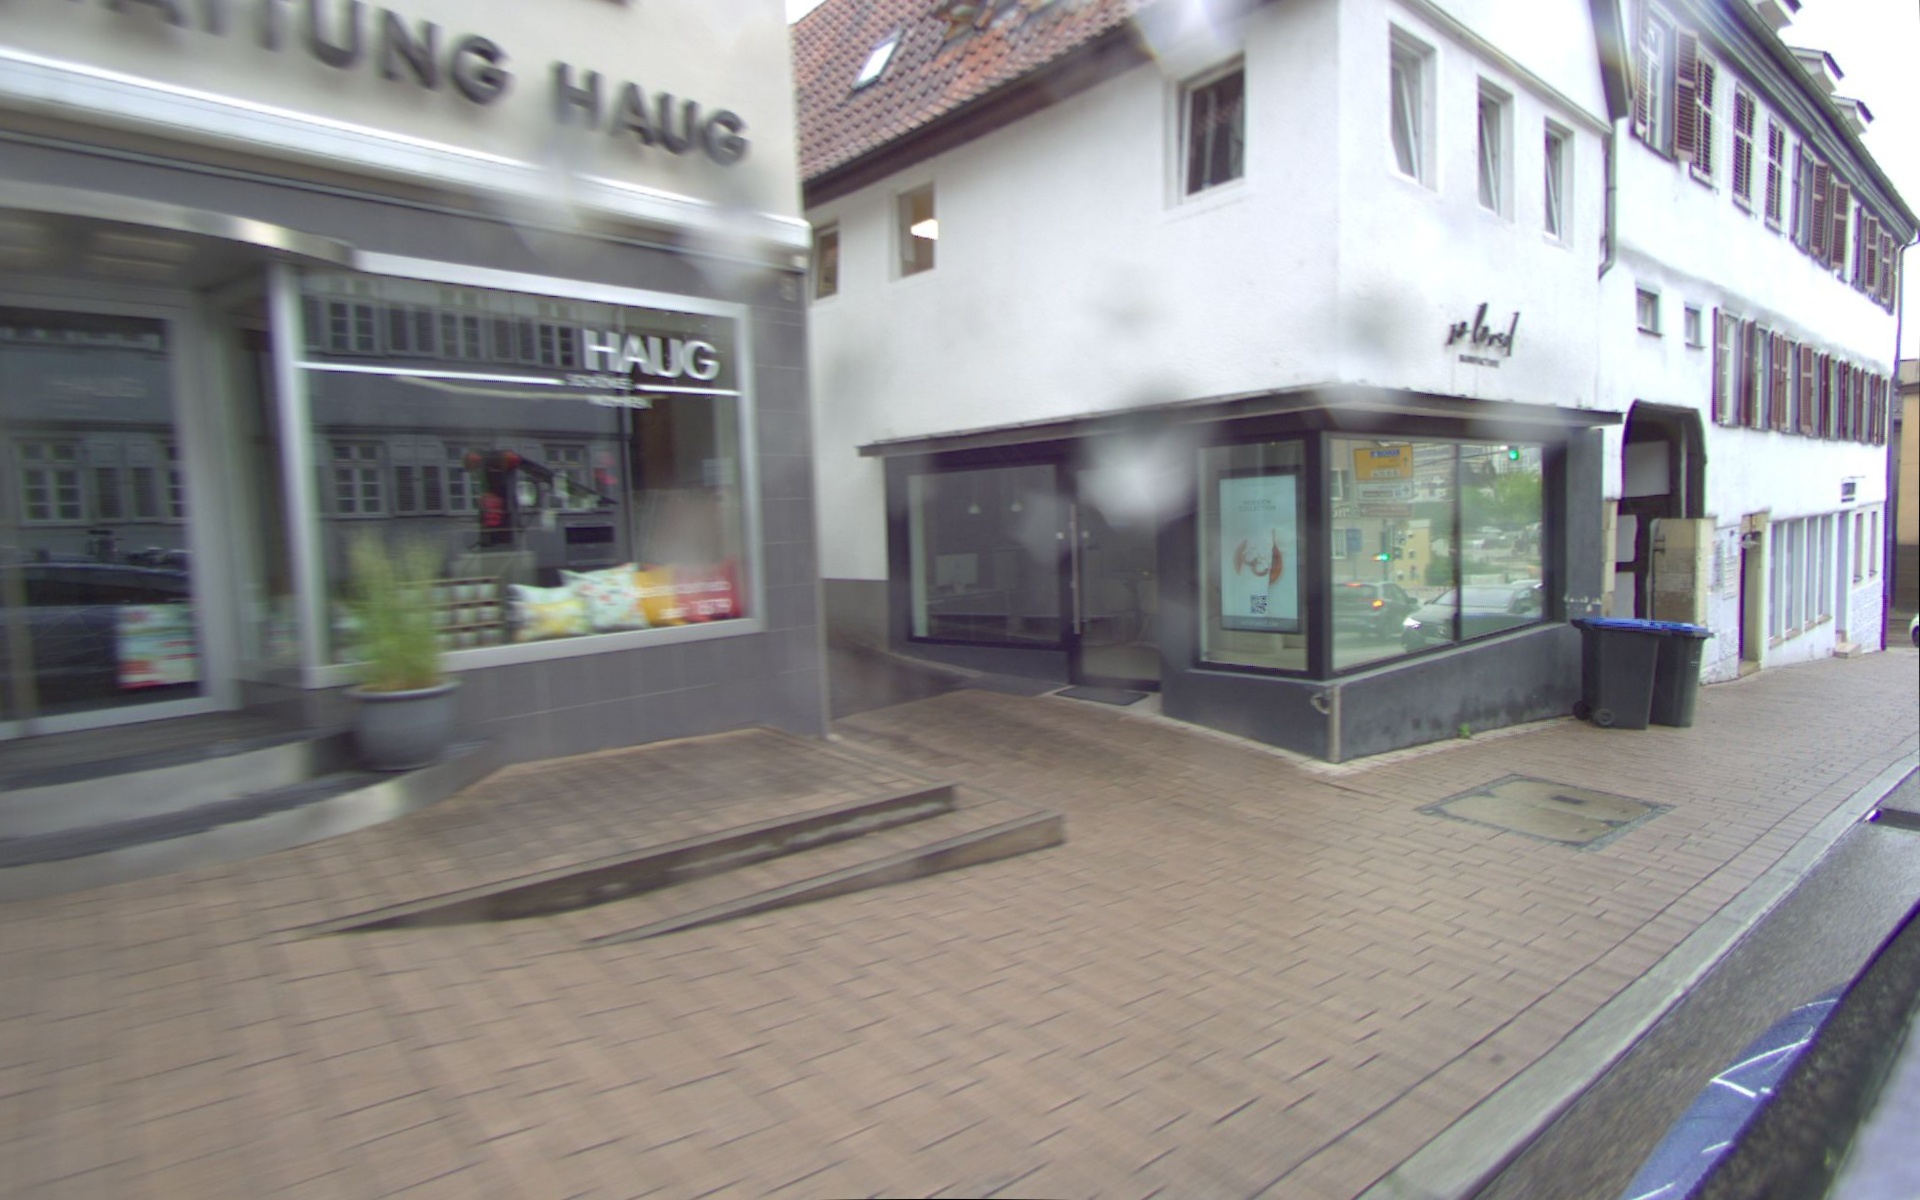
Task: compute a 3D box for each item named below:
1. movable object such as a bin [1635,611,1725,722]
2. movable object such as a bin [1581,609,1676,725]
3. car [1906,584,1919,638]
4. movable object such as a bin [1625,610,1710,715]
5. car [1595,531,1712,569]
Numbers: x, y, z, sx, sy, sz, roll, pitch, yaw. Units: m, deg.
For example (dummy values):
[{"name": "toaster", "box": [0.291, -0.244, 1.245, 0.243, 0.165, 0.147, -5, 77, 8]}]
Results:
[{"name": "movable object such as a bin", "box": [7.352, 0.662, 10.338, 0.468, 1.040, 0.597, 0, 4, -40]}, {"name": "movable object such as a bin", "box": [6.468, 0.633, 9.811, 0.561, 1.040, 0.468, 3, 3, 8]}, {"name": "car", "box": [29.379, 0.402, 28.476, 1.938, 1.627, 4.370, 1, 2, 11]}, {"name": "movable object such as a bin", "box": [7.649, 0.657, 10.943, 0.468, 1.040, 0.597, 0, 4, -40]}, {"name": "car", "box": [32.201, -2.335, 47.147, 1.928, 1.627, 4.392, 1, 3, -8]}]
